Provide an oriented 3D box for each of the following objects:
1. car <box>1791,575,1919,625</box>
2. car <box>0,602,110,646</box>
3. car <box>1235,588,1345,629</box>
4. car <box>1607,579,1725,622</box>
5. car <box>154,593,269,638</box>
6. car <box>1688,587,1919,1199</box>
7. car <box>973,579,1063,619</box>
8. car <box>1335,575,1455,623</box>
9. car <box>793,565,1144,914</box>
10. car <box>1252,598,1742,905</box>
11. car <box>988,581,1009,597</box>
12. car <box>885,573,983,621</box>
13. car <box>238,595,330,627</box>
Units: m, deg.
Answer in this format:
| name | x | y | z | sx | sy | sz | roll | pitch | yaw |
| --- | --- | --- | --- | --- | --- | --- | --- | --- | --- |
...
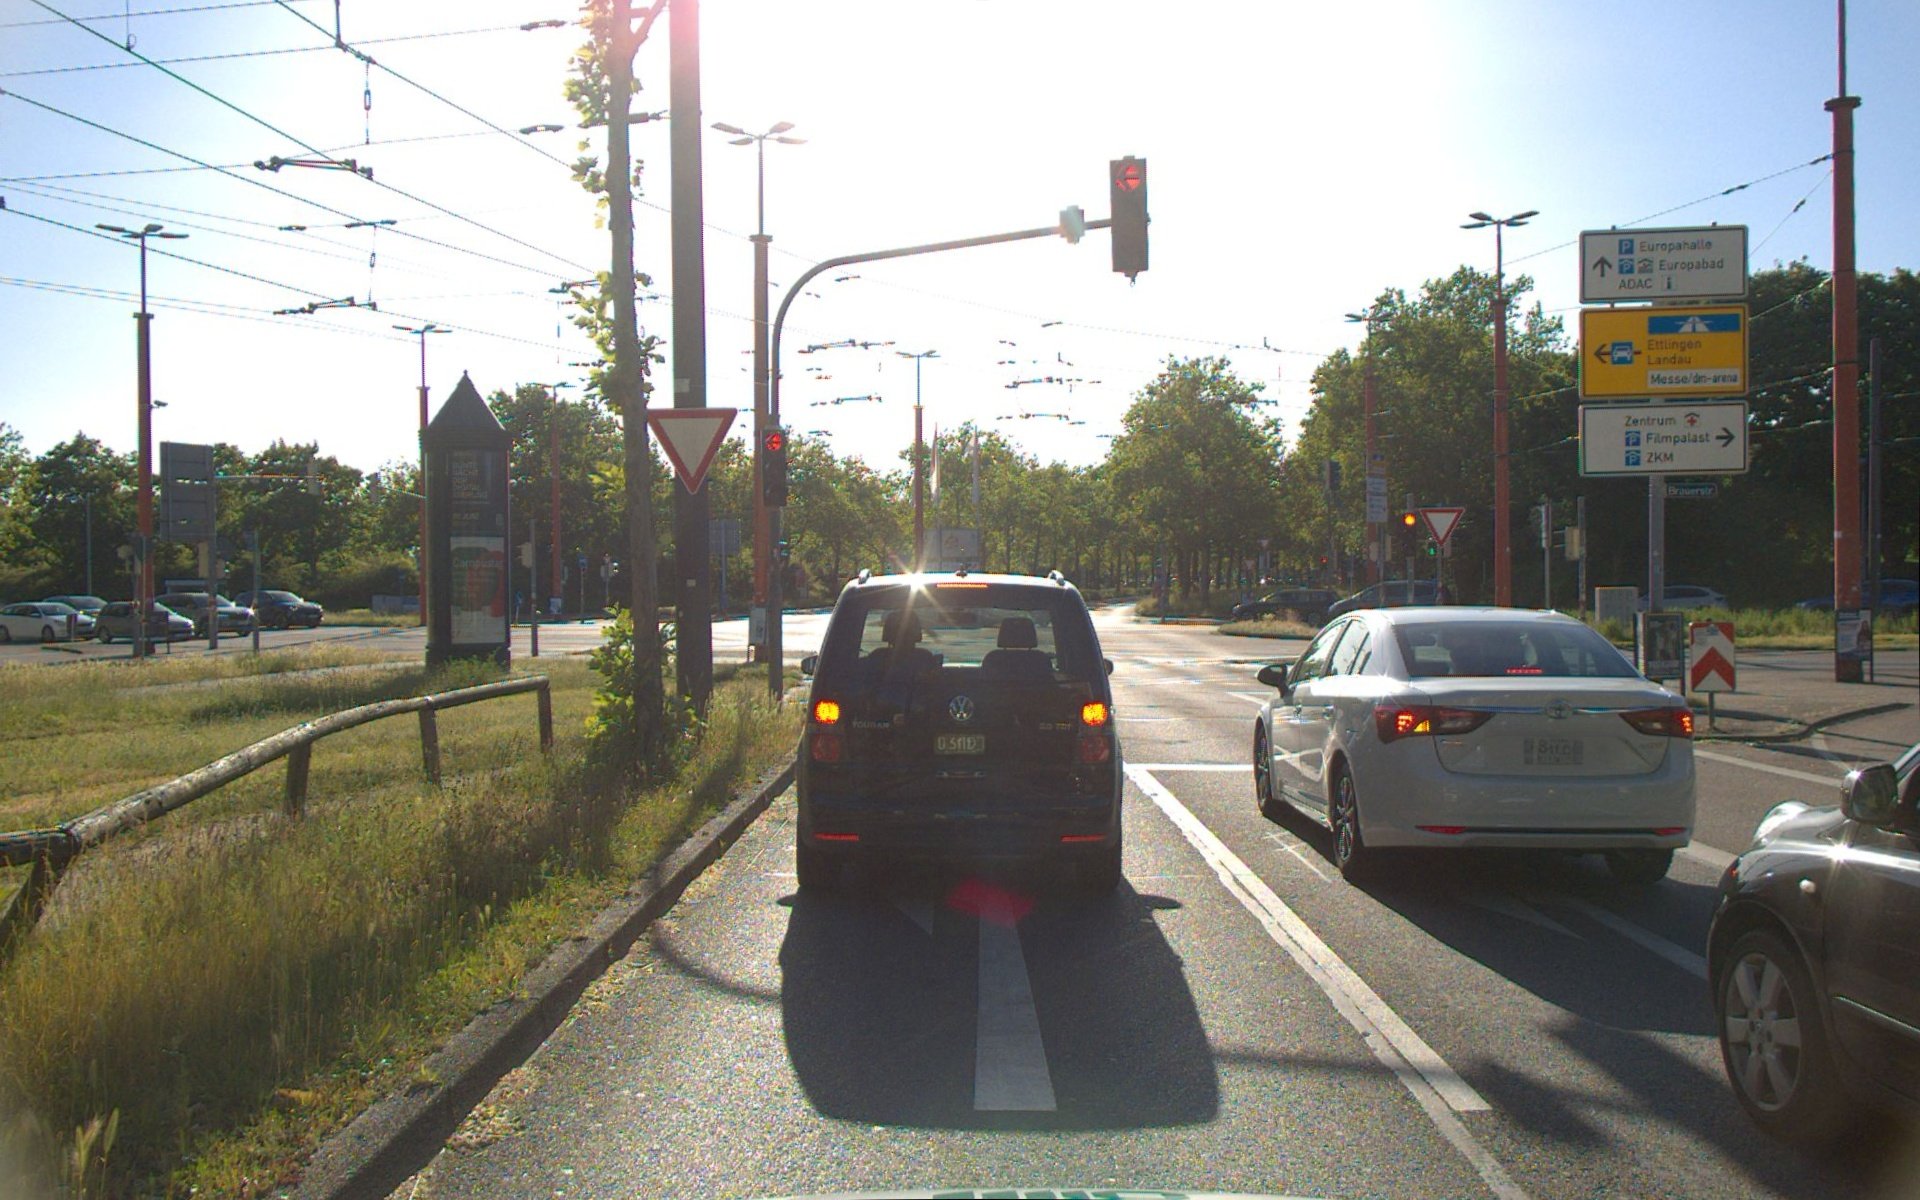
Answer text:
| name | x | y | z | sx | sy | sz | roll | pitch | yaw |
| --- | --- | --- | --- | --- | --- | --- | --- | --- | --- |
| car | 29.951 | -0.007 | 55.127 | 4.039 | 1.626 | 1.827 | 0 | 0 | 27 |
| car | -34.700 | 0.901 | 63.170 | 4.091 | 1.640 | 1.867 | 0 | 0 | 25 |
| car | 13.415 | 0.351 | 67.263 | 4.040 | 1.537 | 1.821 | 1 | 0 | 26 |
| car | 25.865 | 0.015 | 60.595 | 3.887 | 1.466 | 1.685 | 1 | 0 | 27 |
| car | -28.968 | 0.576 | 64.008 | 3.907 | 1.673 | 1.999 | 0 | 0 | 24 |
| car | 3.191 | 0.746 | 3.578 | 1.620 | 1.526 | 3.614 | 1 | 0 | 0 |
| car | 2.546 | -0.034 | 72.608 | 3.570 | 1.684 | 1.679 | 1 | 0 | 25 |
| car | 16.347 | -0.042 | 62.165 | 4.097 | 1.673 | 1.758 | 1 | 0 | 26 |
| car | 0.006 | 0.656 | 9.803 | 1.666 | 1.650 | 3.896 | 0 | 0 | -1 |
| car | 2.977 | 0.731 | 10.131 | 1.685 | 1.463 | 4.198 | 1 | 0 | 1 |
| car | 4.214 | -1.173 | 180.460 | 1.874 | 1.664 | 4.003 | 1 | 0 | 6 |
| car | -1.108 | -0.119 | 70.199 | 3.754 | 1.923 | 1.763 | 1 | 0 | 22 |
| car | -29.269 | 0.477 | 71.586 | 3.913 | 1.353 | 1.694 | 0 | 0 | 31 |
